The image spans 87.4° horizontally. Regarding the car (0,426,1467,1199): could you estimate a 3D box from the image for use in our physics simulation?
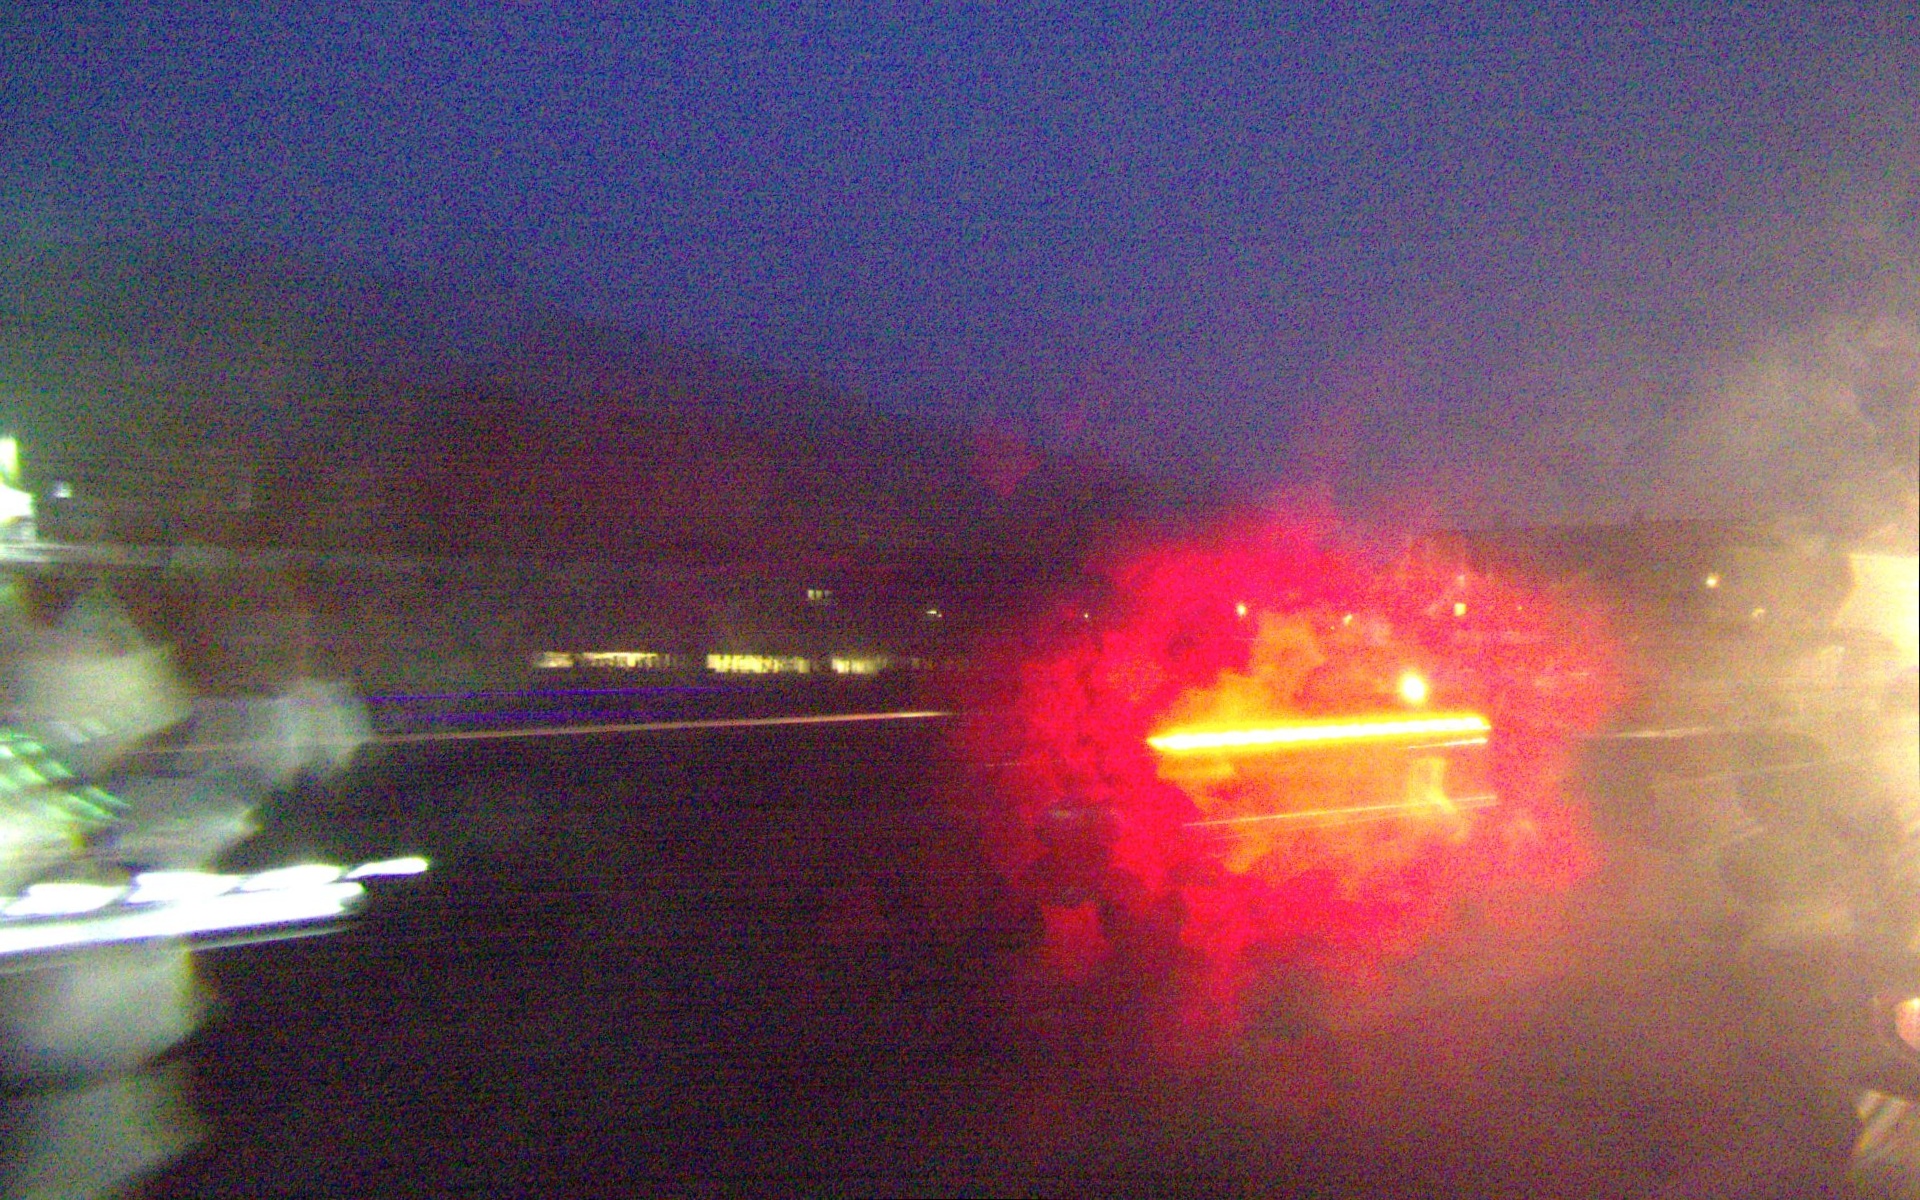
[{"bbox_3d":[-0.474,0.614,3.219,3.953,1.726,1.917,1,0,-31],"label":"car"}]
